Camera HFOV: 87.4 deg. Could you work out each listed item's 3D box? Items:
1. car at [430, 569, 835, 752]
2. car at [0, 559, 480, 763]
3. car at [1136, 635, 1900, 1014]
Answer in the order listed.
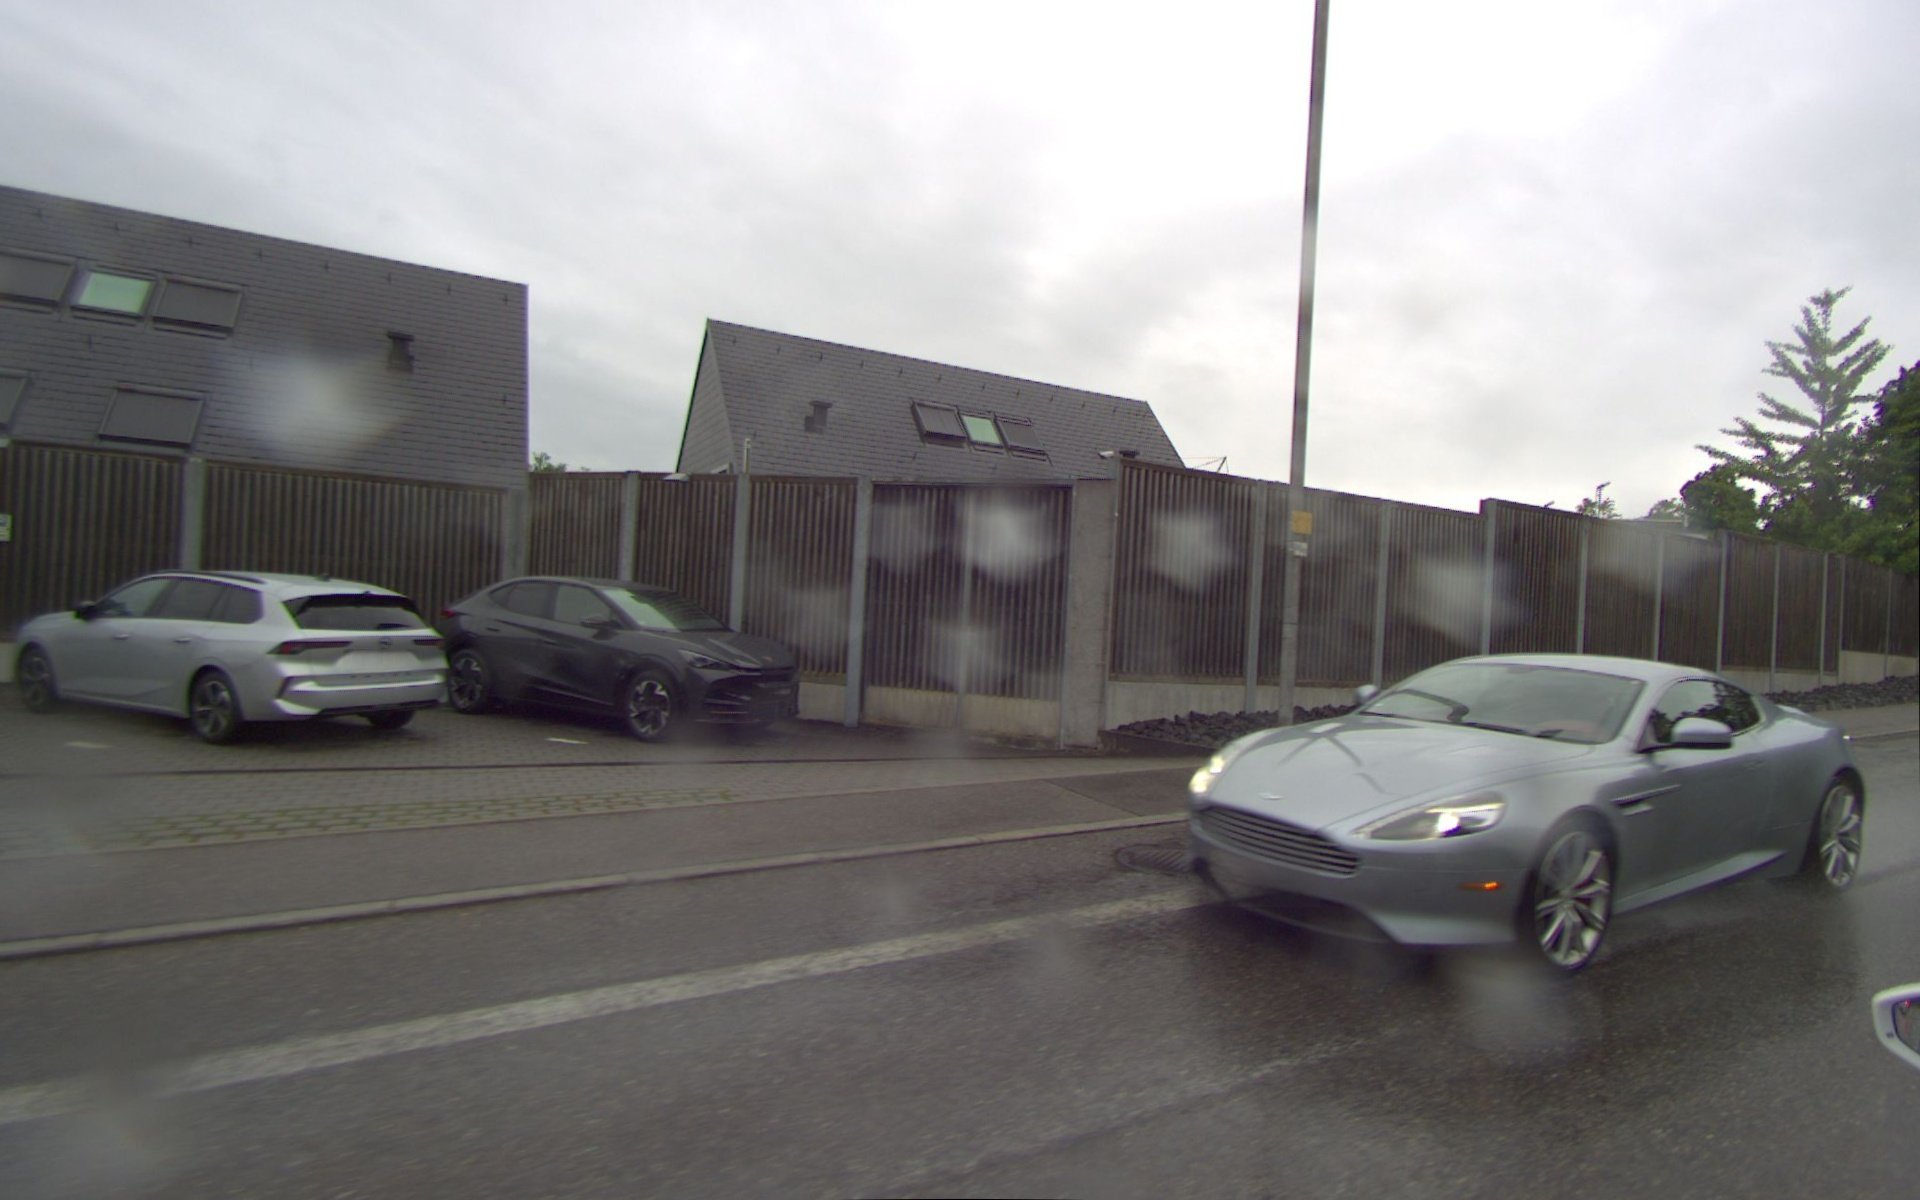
[{"bbox_3d":[-3.699,0.549,11.267,4.213,1.622,1.835,3,1,26],"label":"car"},{"bbox_3d":[-7.006,0.449,9.628,4.445,1.461,1.761,3,1,21],"label":"car"},{"bbox_3d":[3.184,0.893,5.546,4.161,1.300,1.872,1,0,-31],"label":"car"}]
